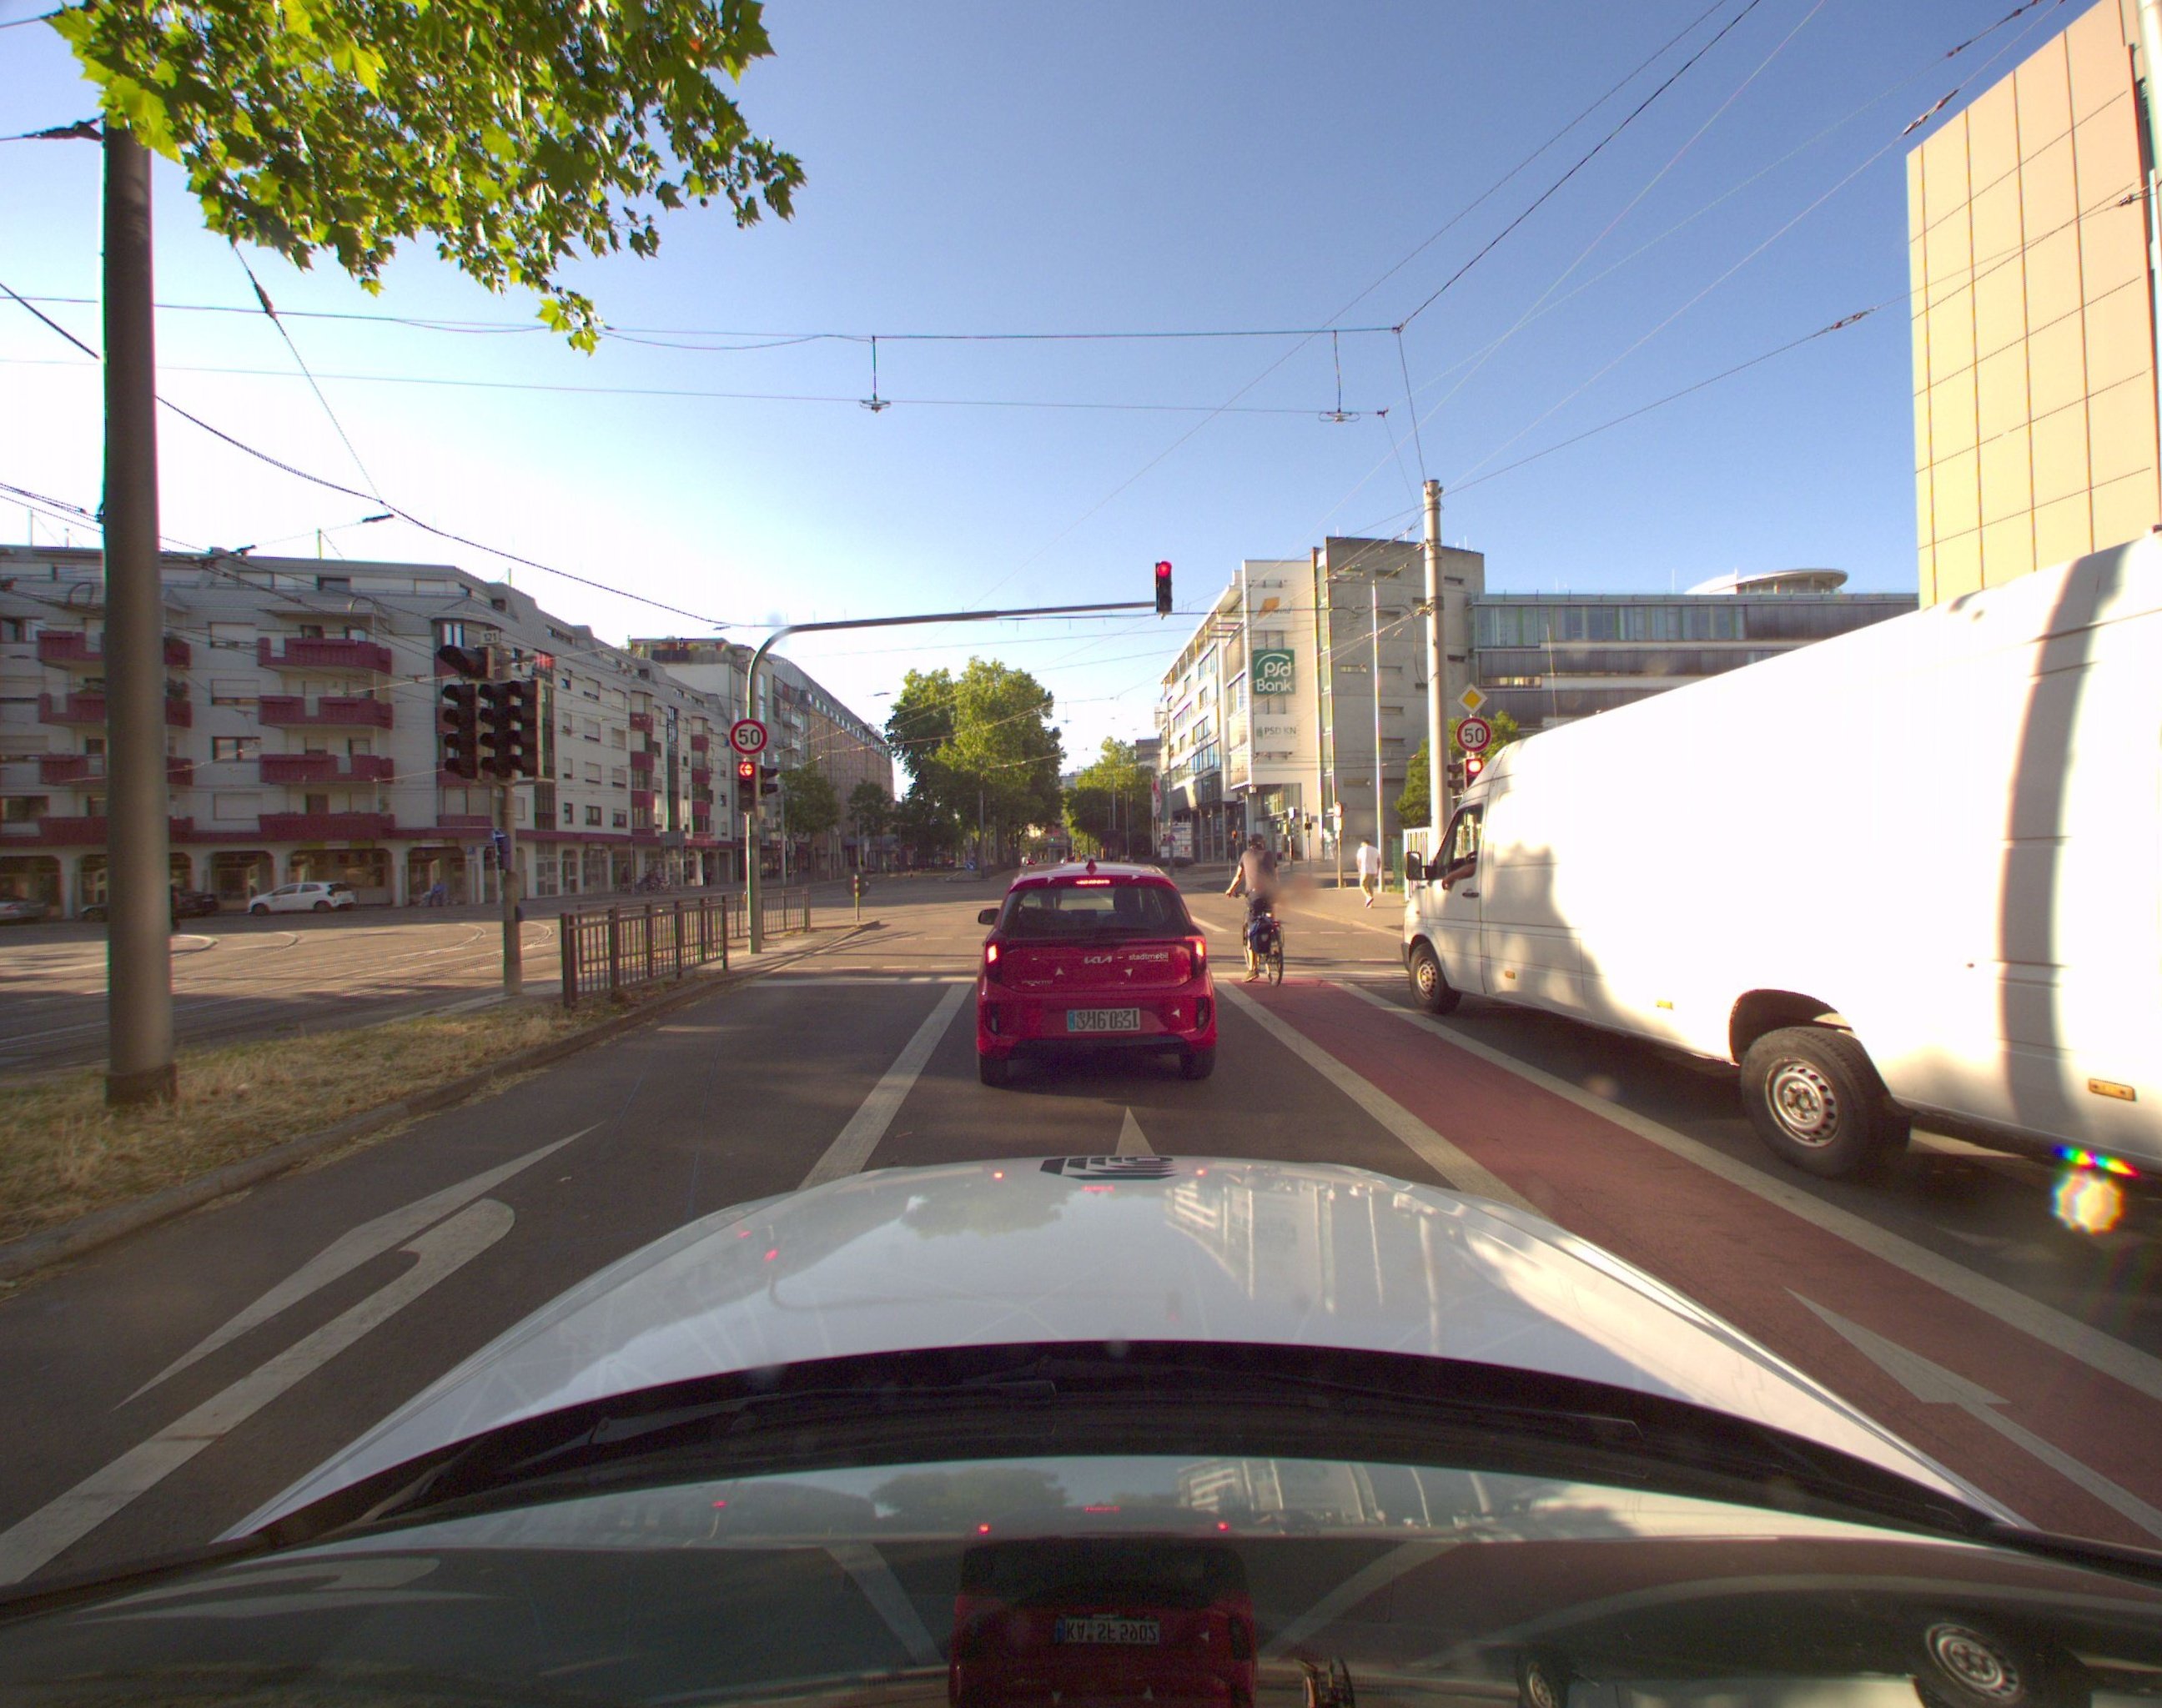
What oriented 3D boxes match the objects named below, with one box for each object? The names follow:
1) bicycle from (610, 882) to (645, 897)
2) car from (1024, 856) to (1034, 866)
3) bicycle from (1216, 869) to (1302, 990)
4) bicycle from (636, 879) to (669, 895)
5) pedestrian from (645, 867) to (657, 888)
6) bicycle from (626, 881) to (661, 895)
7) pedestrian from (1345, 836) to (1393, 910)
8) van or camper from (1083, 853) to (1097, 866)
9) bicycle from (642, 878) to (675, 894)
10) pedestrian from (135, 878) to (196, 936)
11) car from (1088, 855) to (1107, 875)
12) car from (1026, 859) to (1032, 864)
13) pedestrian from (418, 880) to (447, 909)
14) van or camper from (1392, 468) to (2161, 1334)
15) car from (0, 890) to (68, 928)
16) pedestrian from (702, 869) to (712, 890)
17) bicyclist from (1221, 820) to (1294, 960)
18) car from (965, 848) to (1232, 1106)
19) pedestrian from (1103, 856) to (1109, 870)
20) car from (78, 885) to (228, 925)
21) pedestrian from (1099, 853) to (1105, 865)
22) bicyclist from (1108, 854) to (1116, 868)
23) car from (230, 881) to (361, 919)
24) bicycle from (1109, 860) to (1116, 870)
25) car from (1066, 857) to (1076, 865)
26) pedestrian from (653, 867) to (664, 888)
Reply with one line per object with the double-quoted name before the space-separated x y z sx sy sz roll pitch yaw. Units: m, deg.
"bicycle" -28.259 2.185 50.796 1.837 0.854 0.553 -2 0 -1
"car" -11.207 1.547 176.097 1.991 2.013 3.992 -2 0 -6
"bicycle" 2.129 0.849 9.992 0.647 1.281 1.967 -2 0 2
"bicycle" -27.792 2.124 52.827 1.840 0.985 0.552 -2 0 -6
"pedestrian" -31.355 1.717 59.406 0.533 1.494 0.586 -2 0 -6
"bicycle" -27.699 2.156 51.557 1.837 0.854 0.553 -2 0 -1
"pedestrian" 7.329 0.468 20.793 0.774 1.823 1.216 -2 0 2
"van or camper" 1.454 0.895 132.481 1.988 1.989 4.741 -1 0 -2
"bicycle" -27.705 2.100 53.441 1.840 0.985 0.552 -2 0 -6
"pedestrian" -28.970 1.668 25.785 0.733 1.752 1.017 -2 0 -6
"car" 1.559 0.994 76.193 1.631 1.800 3.328 -2 0 -1
"car" -16.319 2.266 256.528 1.776 1.535 3.403 -1 0 -8
"pedestrian" -32.462 2.030 40.770 0.857 1.384 0.833 -2 0 -14
"van or camper" 4.314 0.145 5.402 1.963 2.716 6.301 -1 0 -1
"car" -48.597 2.510 35.953 4.572 1.555 1.992 -2 0 -12
"pedestrian" -29.456 1.997 64.113 0.696 1.544 1.040 -2 0 -27
"bicyclist" 2.135 0.416 9.970 0.647 1.603 1.089 -2 0 2
"car" 0.037 0.746 6.670 1.609 1.535 3.408 -1 0 -3
"pedestrian" 3.010 1.041 97.553 0.644 1.680 0.652 -2 0 3
"car" -42.422 2.290 37.352 4.112 1.555 1.992 -2 0 -12
"pedestrian" 2.969 0.713 117.767 0.641 1.579 0.722 -5 0 -5
"bicyclist" 3.719 0.798 97.394 0.718 1.603 1.090 -4 -1 6
"car" -37.166 2.146 38.655 3.989 1.555 1.992 -2 0 -12
"bicycle" 3.768 1.282 97.427 0.693 1.098 1.753 -5 0 5
"car" -2.052 1.483 167.500 1.776 1.535 3.503 -1 0 -8
"pedestrian" -30.795 1.713 59.382 0.533 1.494 0.586 -2 0 -6
